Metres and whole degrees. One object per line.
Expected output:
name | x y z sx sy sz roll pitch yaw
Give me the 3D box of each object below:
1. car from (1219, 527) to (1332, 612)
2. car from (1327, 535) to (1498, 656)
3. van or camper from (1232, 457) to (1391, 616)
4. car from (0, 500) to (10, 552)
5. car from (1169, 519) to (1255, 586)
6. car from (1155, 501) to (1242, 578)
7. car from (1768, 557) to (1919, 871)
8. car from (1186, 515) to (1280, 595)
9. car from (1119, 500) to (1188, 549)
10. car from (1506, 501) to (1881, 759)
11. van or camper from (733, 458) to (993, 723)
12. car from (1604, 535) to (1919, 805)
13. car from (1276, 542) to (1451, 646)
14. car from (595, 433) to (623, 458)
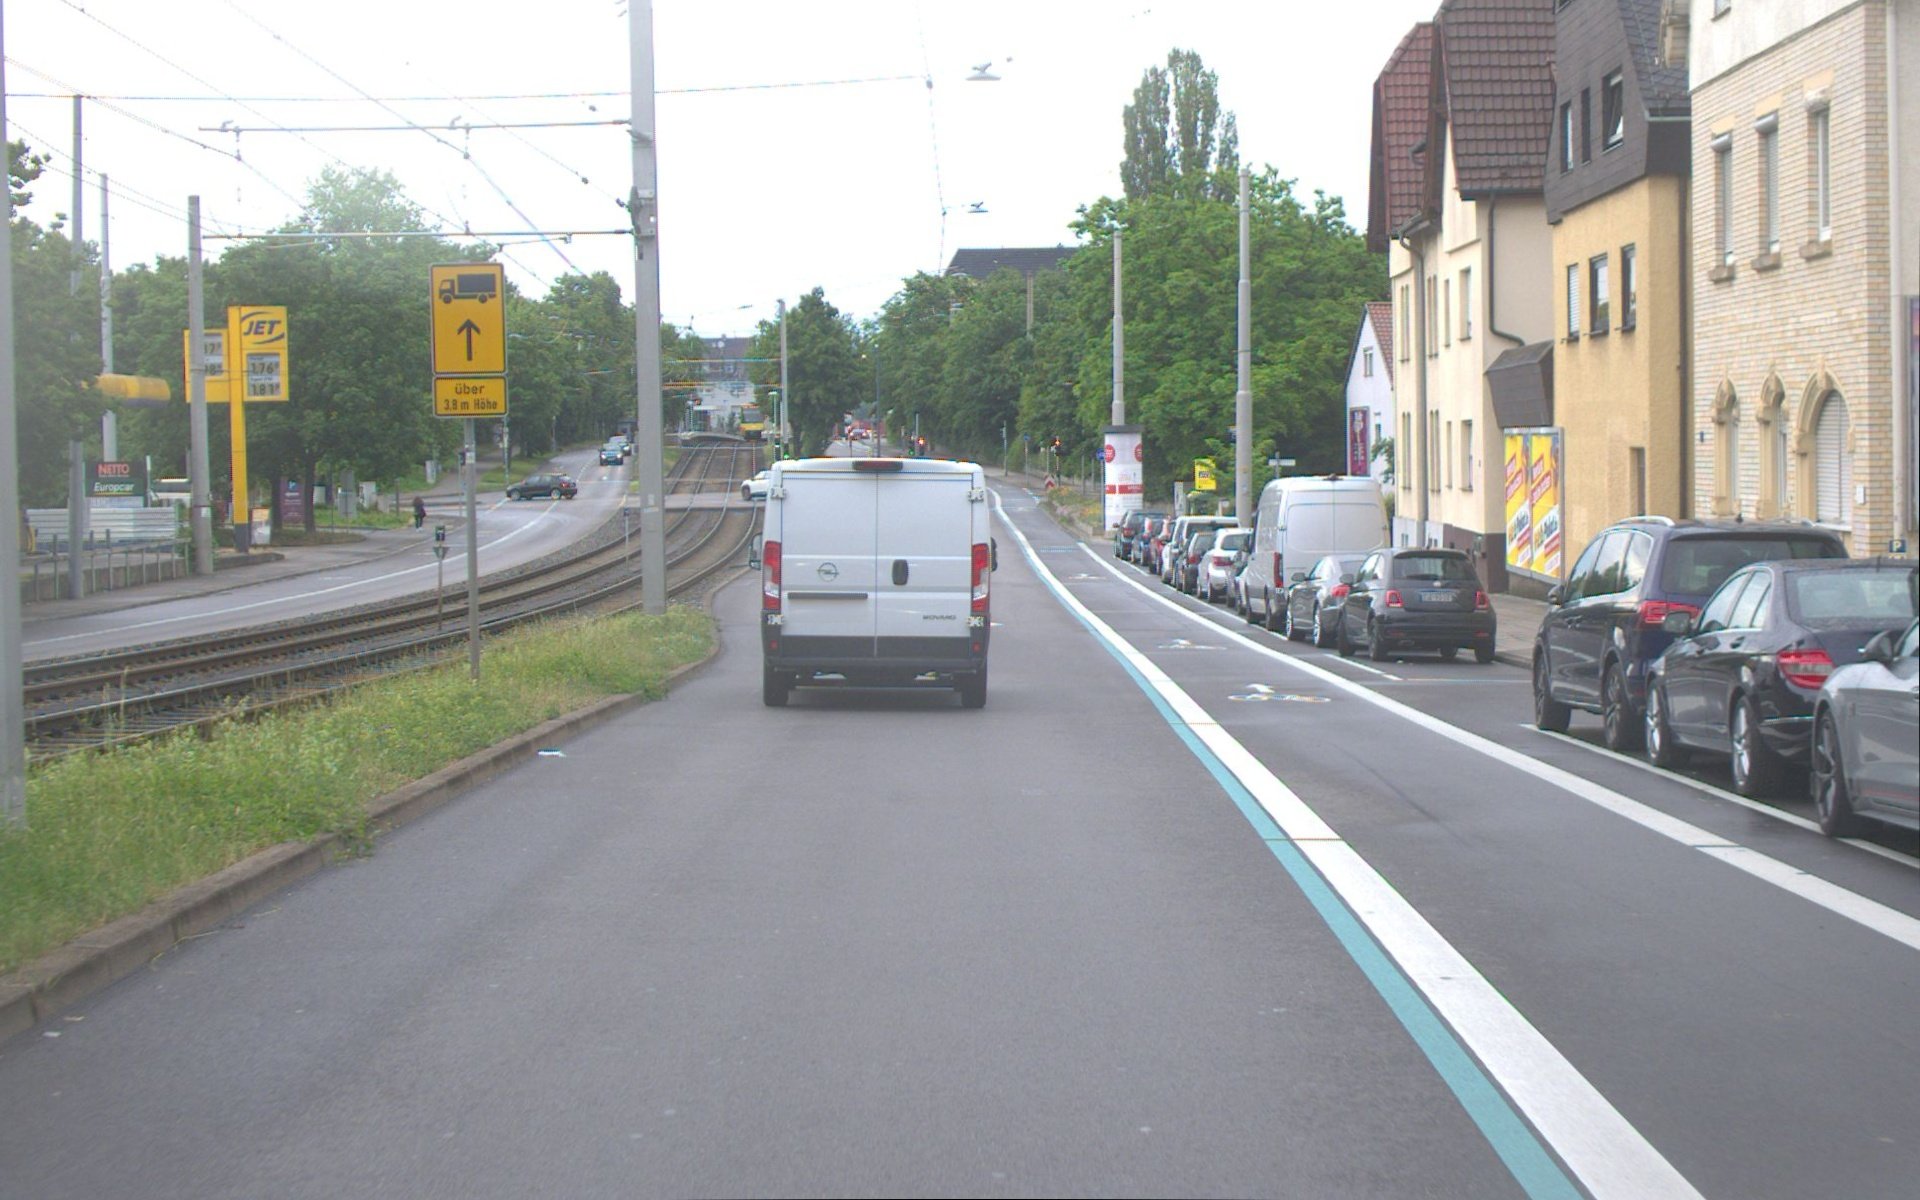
car | 5.904 -0.600 64.707 1.708 1.441 4.041 1 2 0
car | 5.992 -0.090 45.864 1.565 1.493 3.513 2 1 -4
van or camper | 5.956 -1.151 58.907 1.993 2.554 6.044 1 2 0
car | -27.805 -2.073 95.291 1.993 1.437 4.001 1 1 -3
car | 5.848 -1.132 80.220 1.646 1.441 3.955 1 2 -1
car | 5.931 -1.539 85.763 1.747 1.801 3.955 1 2 -2
car | 5.222 0.502 16.396 1.796 1.371 4.670 0 1 2
car | 5.902 -0.997 74.664 1.646 1.609 4.105 1 2 -1
car | 6.129 -2.397 109.249 1.847 1.494 3.955 1 1 -2
car | 5.610 0.165 26.881 1.839 1.794 4.687 2 1 0
van or camper | -0.987 -0.125 31.928 2.198 2.245 4.685 1 1 -4
car | 5.387 0.379 22.129 1.634 1.533 4.136 2 1 0
car | 6.006 -0.122 51.683 1.788 1.401 4.554 1 2 -4
car | -24.849 -10.944 243.692 1.690 1.706 3.777 1 1 -2
